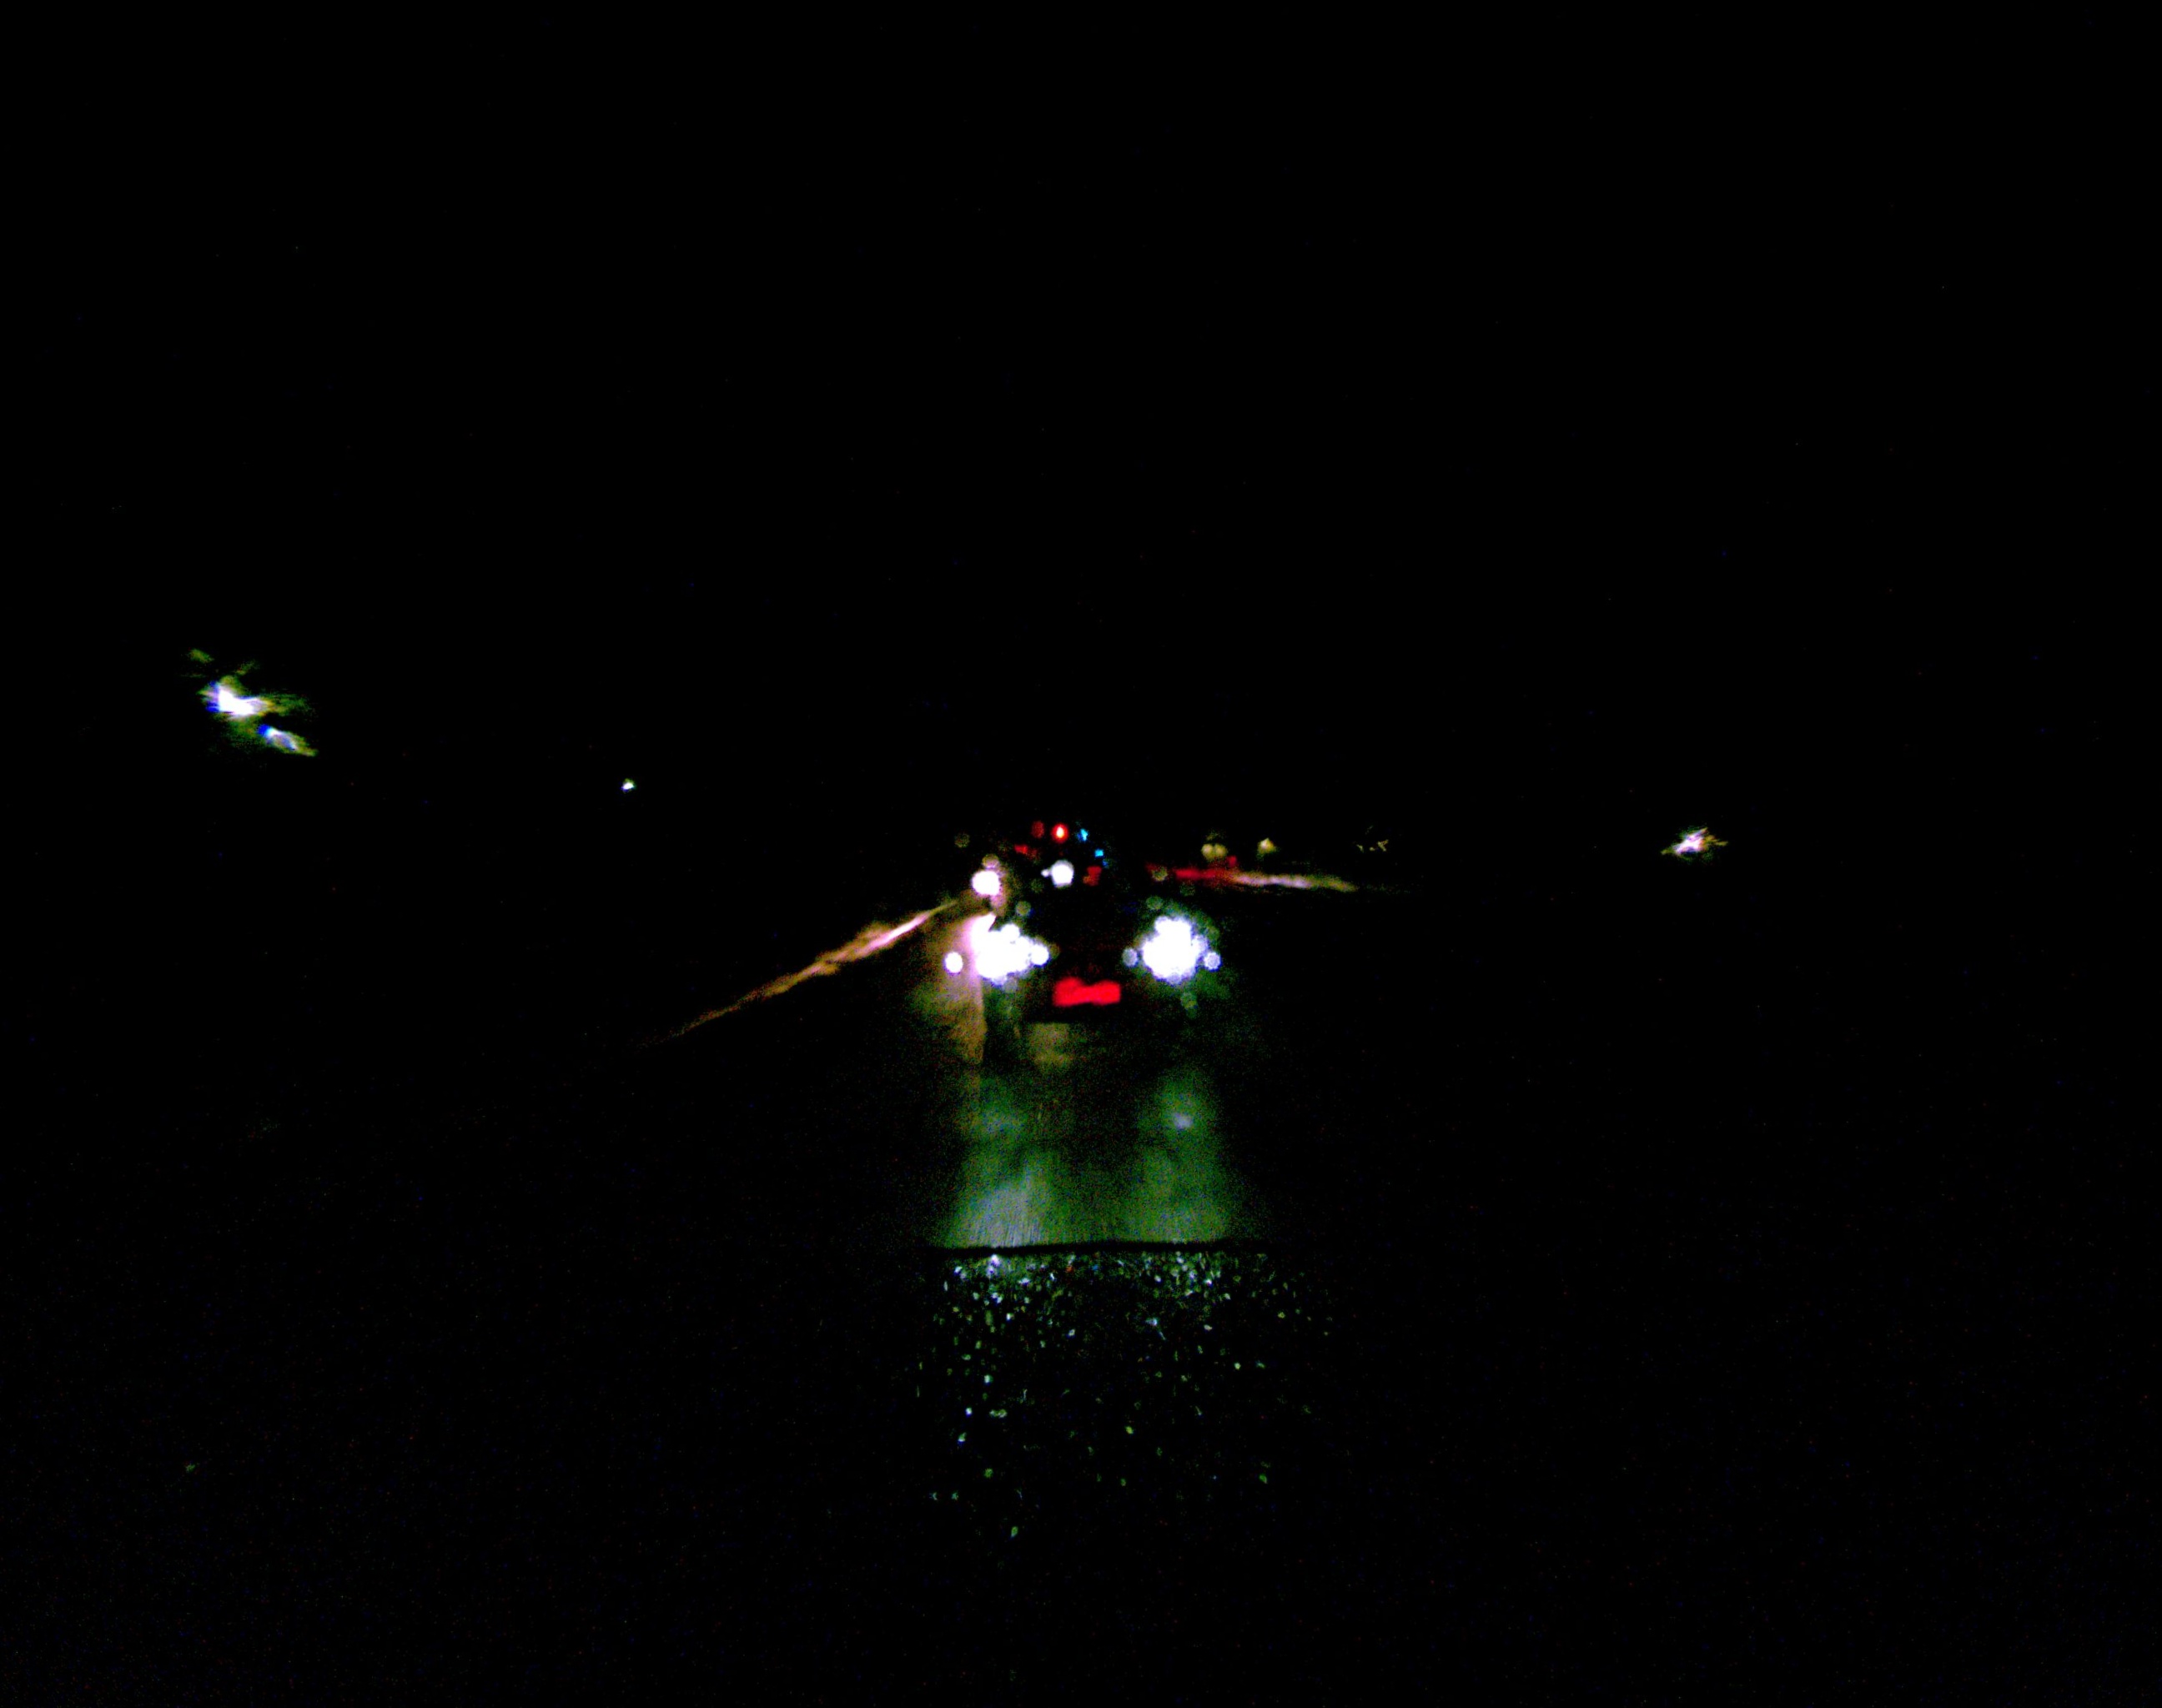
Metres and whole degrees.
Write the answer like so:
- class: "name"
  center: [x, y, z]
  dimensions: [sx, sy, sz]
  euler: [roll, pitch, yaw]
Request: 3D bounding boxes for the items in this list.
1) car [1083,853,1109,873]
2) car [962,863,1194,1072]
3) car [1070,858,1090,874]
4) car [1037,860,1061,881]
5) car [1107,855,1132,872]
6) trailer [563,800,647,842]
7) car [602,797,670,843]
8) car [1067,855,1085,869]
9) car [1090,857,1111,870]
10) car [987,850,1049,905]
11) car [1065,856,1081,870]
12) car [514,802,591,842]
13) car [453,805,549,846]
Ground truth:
- class: "car"
  center: [1.163, 0.716, 61.746]
  dimensions: [1.699, 1.426, 4.291]
  euler: [-2, 1, -4]
- class: "car"
  center: [-0.038, 0.930, 8.426]
  dimensions: [1.810, 1.590, 4.786]
  euler: [-1, 0, 0]
- class: "car"
  center: [-0.148, 1.239, 79.498]
  dimensions: [1.810, 1.620, 4.415]
  euler: [-2, 0, -3]
- class: "car"
  center: [-2.335, 1.214, 55.628]
  dimensions: [1.625, 1.477, 3.785]
  euler: [-1, -1, -1]
- class: "car"
  center: [3.592, 0.886, 71.749]
  dimensions: [1.923, 1.435, 4.544]
  euler: [-2, 0, -3]
- class: "trailer"
  center: [-26.275, -1.761, 42.207]
  dimensions: [2.234, 2.060, 5.713]
  euler: [-1, 0, -14]
- class: "car"
  center: [-27.615, -2.034, 47.400]
  dimensions: [2.122, 2.619, 5.444]
  euler: [-1, 0, -14]
- class: "car"
  center: [-0.649, 0.911, 87.718]
  dimensions: [1.849, 1.565, 4.596]
  euler: [-2, 0, -3]
- class: "car"
  center: [2.344, 1.102, 91.863]
  dimensions: [2.083, 1.441, 4.990]
  euler: [-2, 0, -3]
- class: "car"
  center: [-2.268, 0.823, 28.412]
  dimensions: [1.759, 1.807, 4.710]
  euler: [-2, 0, 1]
- class: "car"
  center: [-1.017, 1.121, 95.062]
  dimensions: [1.849, 1.565, 4.596]
  euler: [-2, 0, -3]
- class: "car"
  center: [-24.245, -1.441, 35.002]
  dimensions: [1.619, 1.630, 3.994]
  euler: [-2, 1, -16]
- class: "car"
  center: [-23.118, -1.082, 30.463]
  dimensions: [1.619, 1.464, 3.994]
  euler: [-2, 1, -16]
